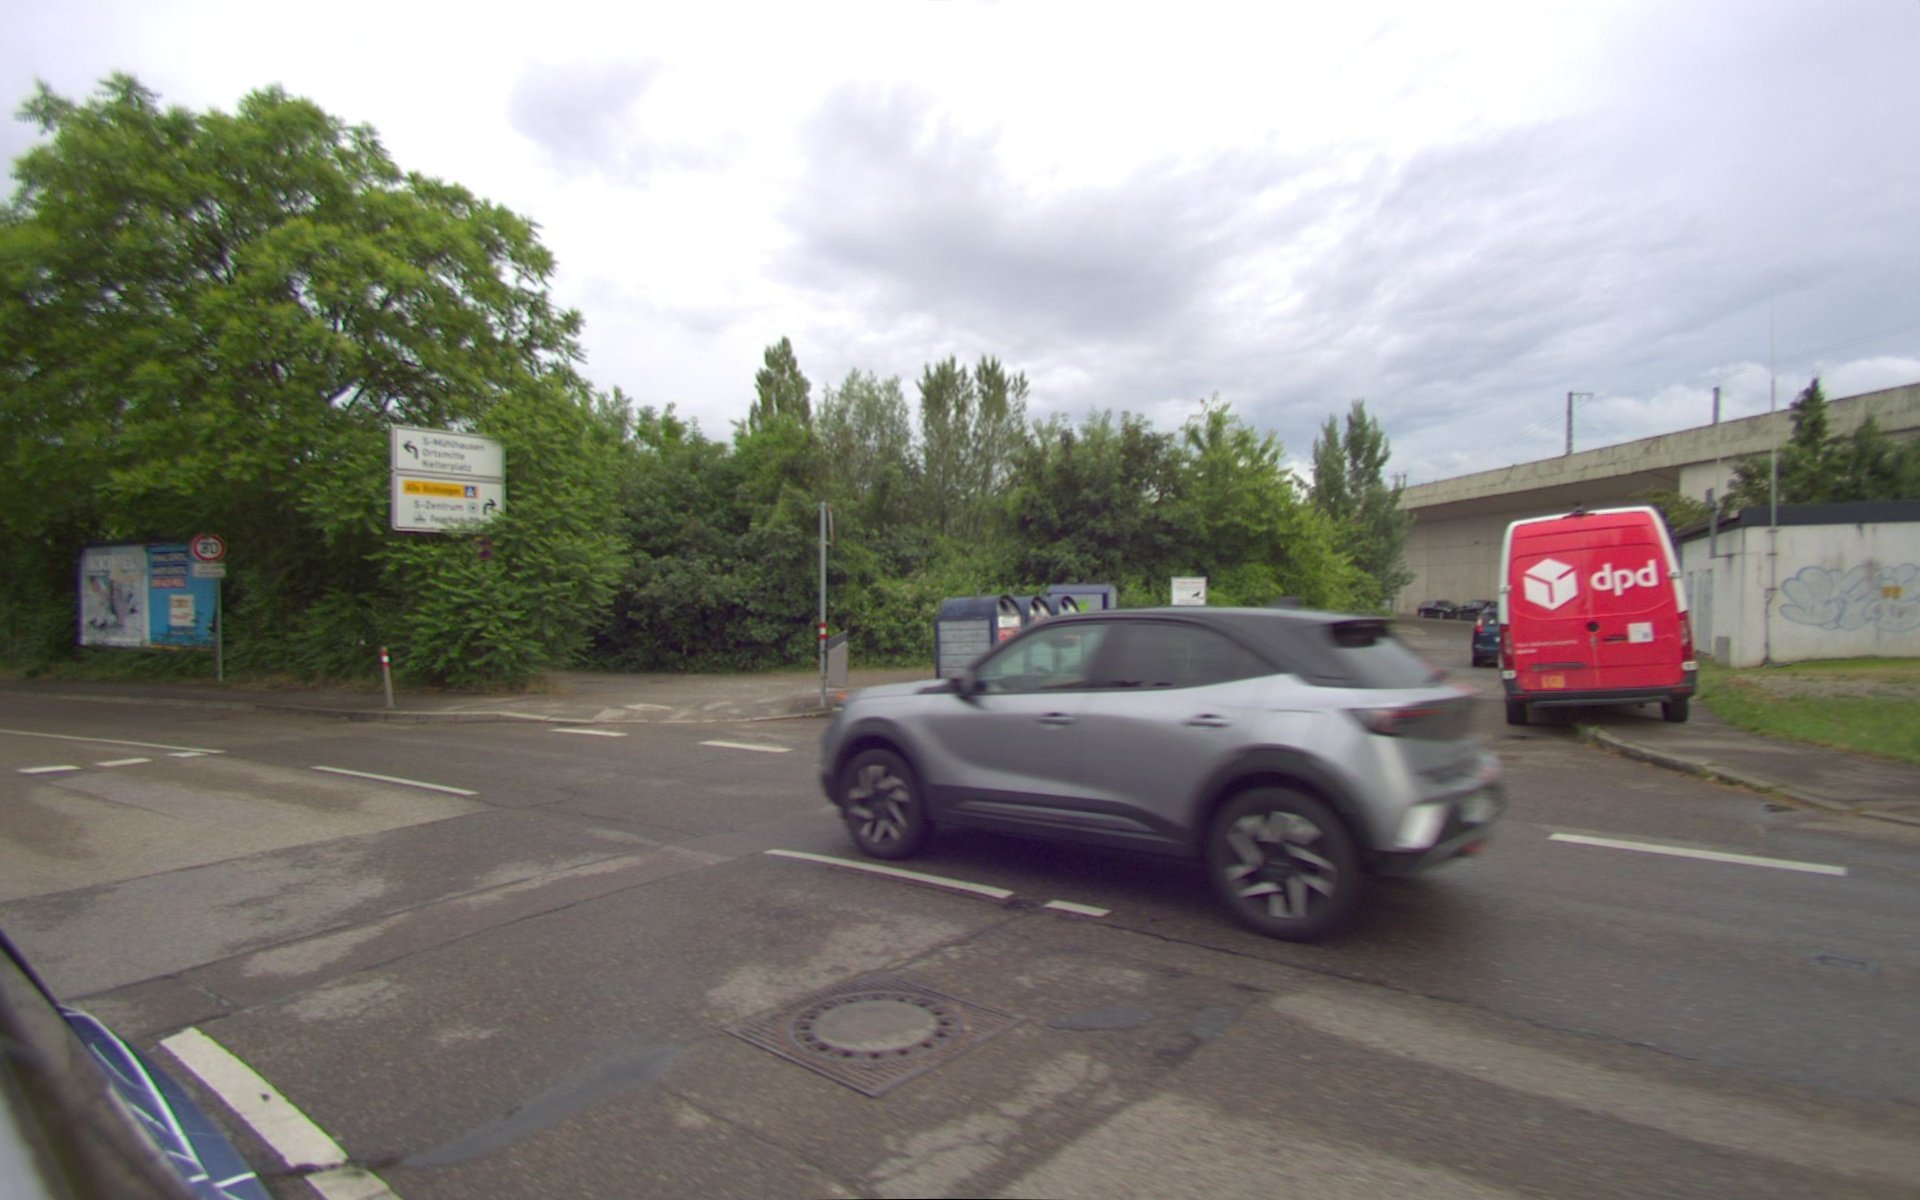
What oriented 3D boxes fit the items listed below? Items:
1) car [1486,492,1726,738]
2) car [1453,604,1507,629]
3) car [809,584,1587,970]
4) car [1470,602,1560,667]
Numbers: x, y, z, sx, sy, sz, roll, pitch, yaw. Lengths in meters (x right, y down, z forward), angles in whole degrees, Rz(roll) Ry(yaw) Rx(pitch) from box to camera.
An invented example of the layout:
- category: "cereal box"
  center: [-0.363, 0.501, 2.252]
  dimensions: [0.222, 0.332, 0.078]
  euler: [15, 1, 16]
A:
- category: "car"
  center: [8.928, 0.174, 14.507]
  dimensions: [2.253, 2.675, 6.756]
  euler: [-2, -1, 29]
- category: "car"
  center: [39.184, 1.243, 76.342]
  dimensions: [1.973, 1.808, 3.998]
  euler: [-1, -1, 1]
- category: "car"
  center: [1.154, 0.743, 5.906]
  dimensions: [3.998, 1.473, 1.875]
  euler: [-2, -2, 41]
- category: "car"
  center: [15.327, 0.903, 28.140]
  dimensions: [1.990, 1.642, 4.214]
  euler: [-2, 0, 26]
